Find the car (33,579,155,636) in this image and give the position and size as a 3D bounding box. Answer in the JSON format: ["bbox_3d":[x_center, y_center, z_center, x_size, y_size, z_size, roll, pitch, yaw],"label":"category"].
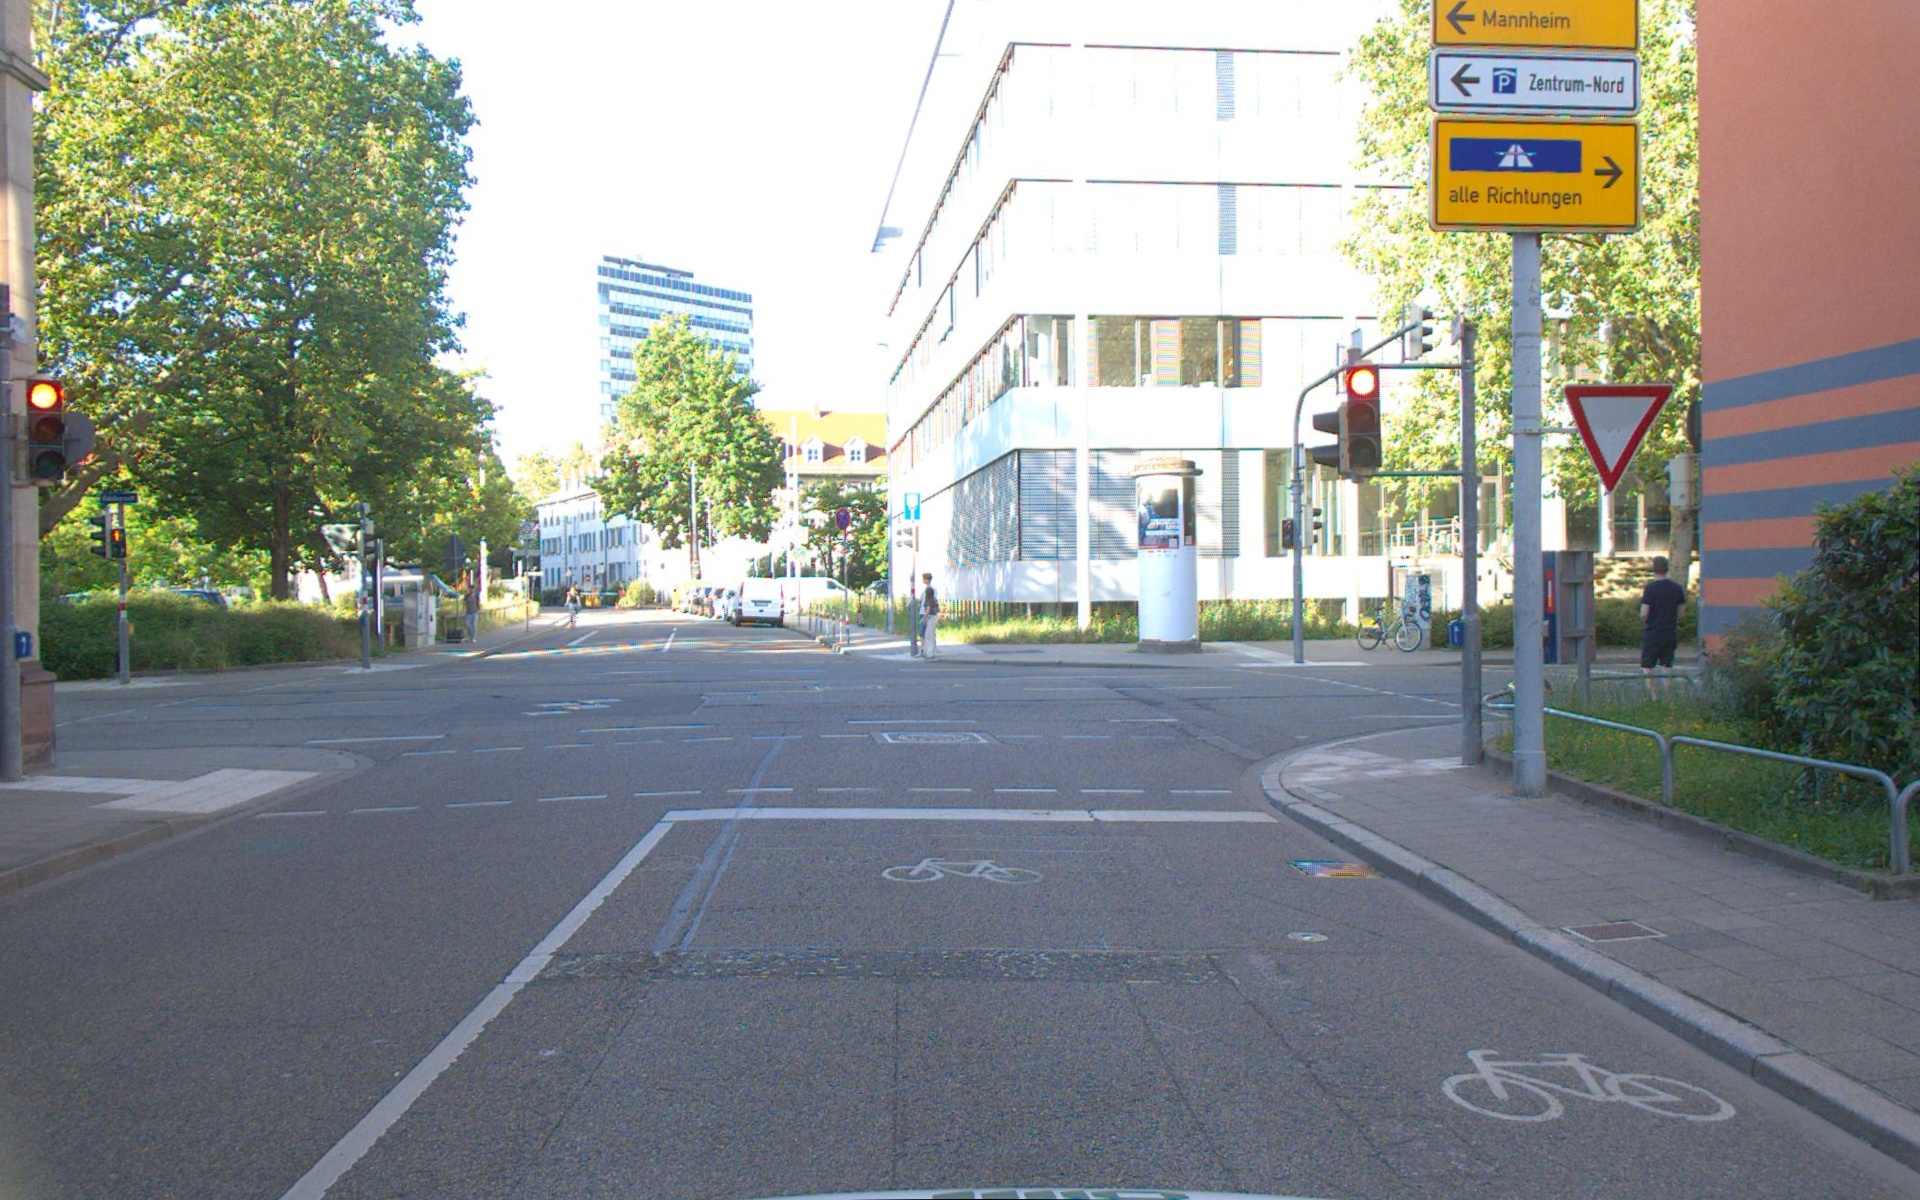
[{"bbox_3d":[-39.966,0.347,76.425,4.472,2.433,2.069,-2,0,-10],"label":"car"}]

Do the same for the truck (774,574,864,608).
[{"bbox_3d":[-8.767,-0.555,102.908,5.258,2.049,1.989,-1,0,-20],"label":"truck"}]

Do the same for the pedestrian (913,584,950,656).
[{"bbox_3d":[-0.636,0.434,37.170,0.551,1.567,0.673,-4,1,-19],"label":"pedestrian"}]

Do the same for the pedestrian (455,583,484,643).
[{"bbox_3d":[-14.568,0.388,49.130,0.691,1.753,0.952,-2,0,-12],"label":"pedestrian"}]

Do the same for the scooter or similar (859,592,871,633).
[{"bbox_3d":[-3.355,0.442,58.495,0.324,1.449,1.333,1,0,-6],"label":"scooter or similar"}]

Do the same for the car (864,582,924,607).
[{"bbox_3d":[-4.153,-0.341,104.163,3.502,1.573,1.549,-1,0,-20],"label":"car"}]

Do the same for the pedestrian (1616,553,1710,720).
[{"bbox_3d":[8.091,0.411,19.070,0.692,1.872,0.837,1,0,-1],"label":"pedestrian"}]

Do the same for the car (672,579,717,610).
[{"bbox_3d":[-15.337,-0.328,95.249,1.860,1.684,4.391,0,1,-19],"label":"car"}]

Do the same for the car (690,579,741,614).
[{"bbox_3d":[-12.663,-0.217,85.353,1.860,1.684,4.391,0,1,-19],"label":"car"}]

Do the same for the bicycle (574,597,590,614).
[{"bbox_3d":[-23.841,0.334,104.253,0.850,1.027,2.408,-3,0,-11],"label":"bicycle"}]

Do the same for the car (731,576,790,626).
[{"bbox_3d":[-7.827,-0.005,64.536,2.047,1.827,4.404,0,1,-10],"label":"car"}]

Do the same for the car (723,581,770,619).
[{"bbox_3d":[-9.432,-0.020,72.782,1.854,1.582,4.404,0,1,-10],"label":"car"}]

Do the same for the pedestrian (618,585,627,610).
[{"bbox_3d":[-21.800,-0.178,106.945,0.428,1.636,0.488,-1,0,-27],"label":"pedestrian"}]

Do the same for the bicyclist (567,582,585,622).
[{"bbox_3d":[-15.072,0.083,64.917,0.604,1.559,0.901,-1,0,-9],"label":"bicyclist"}]

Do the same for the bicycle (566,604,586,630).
[{"bbox_3d":[-15.061,0.667,64.906,0.604,0.986,1.837,-1,1,-9],"label":"bicycle"}]

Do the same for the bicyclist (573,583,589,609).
[{"bbox_3d":[-23.867,-0.254,104.267,0.850,1.541,1.016,-3,0,-11],"label":"bicyclist"}]

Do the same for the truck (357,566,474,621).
[{"bbox_3d":[-24.555,-0.316,74.741,4.741,2.441,2.082,0,1,-11],"label":"truck"}]

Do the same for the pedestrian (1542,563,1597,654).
[{"bbox_3d":[12.718,0.178,34.527,0.819,1.872,0.707,1,0,-11],"label":"pedestrian"}]

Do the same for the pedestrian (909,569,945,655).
[{"bbox_3d":[-0.752,0.268,37.774,0.547,1.882,0.678,-3,1,15],"label":"pedestrian"}]

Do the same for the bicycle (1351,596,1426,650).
[{"bbox_3d":[9.358,0.496,36.155,0.503,1.067,1.667,-3,4,-35],"label":"bicycle"}]

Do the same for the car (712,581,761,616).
[{"bbox_3d":[-10.599,-0.095,78.136,1.856,1.582,4.400,0,1,-14],"label":"car"}]
